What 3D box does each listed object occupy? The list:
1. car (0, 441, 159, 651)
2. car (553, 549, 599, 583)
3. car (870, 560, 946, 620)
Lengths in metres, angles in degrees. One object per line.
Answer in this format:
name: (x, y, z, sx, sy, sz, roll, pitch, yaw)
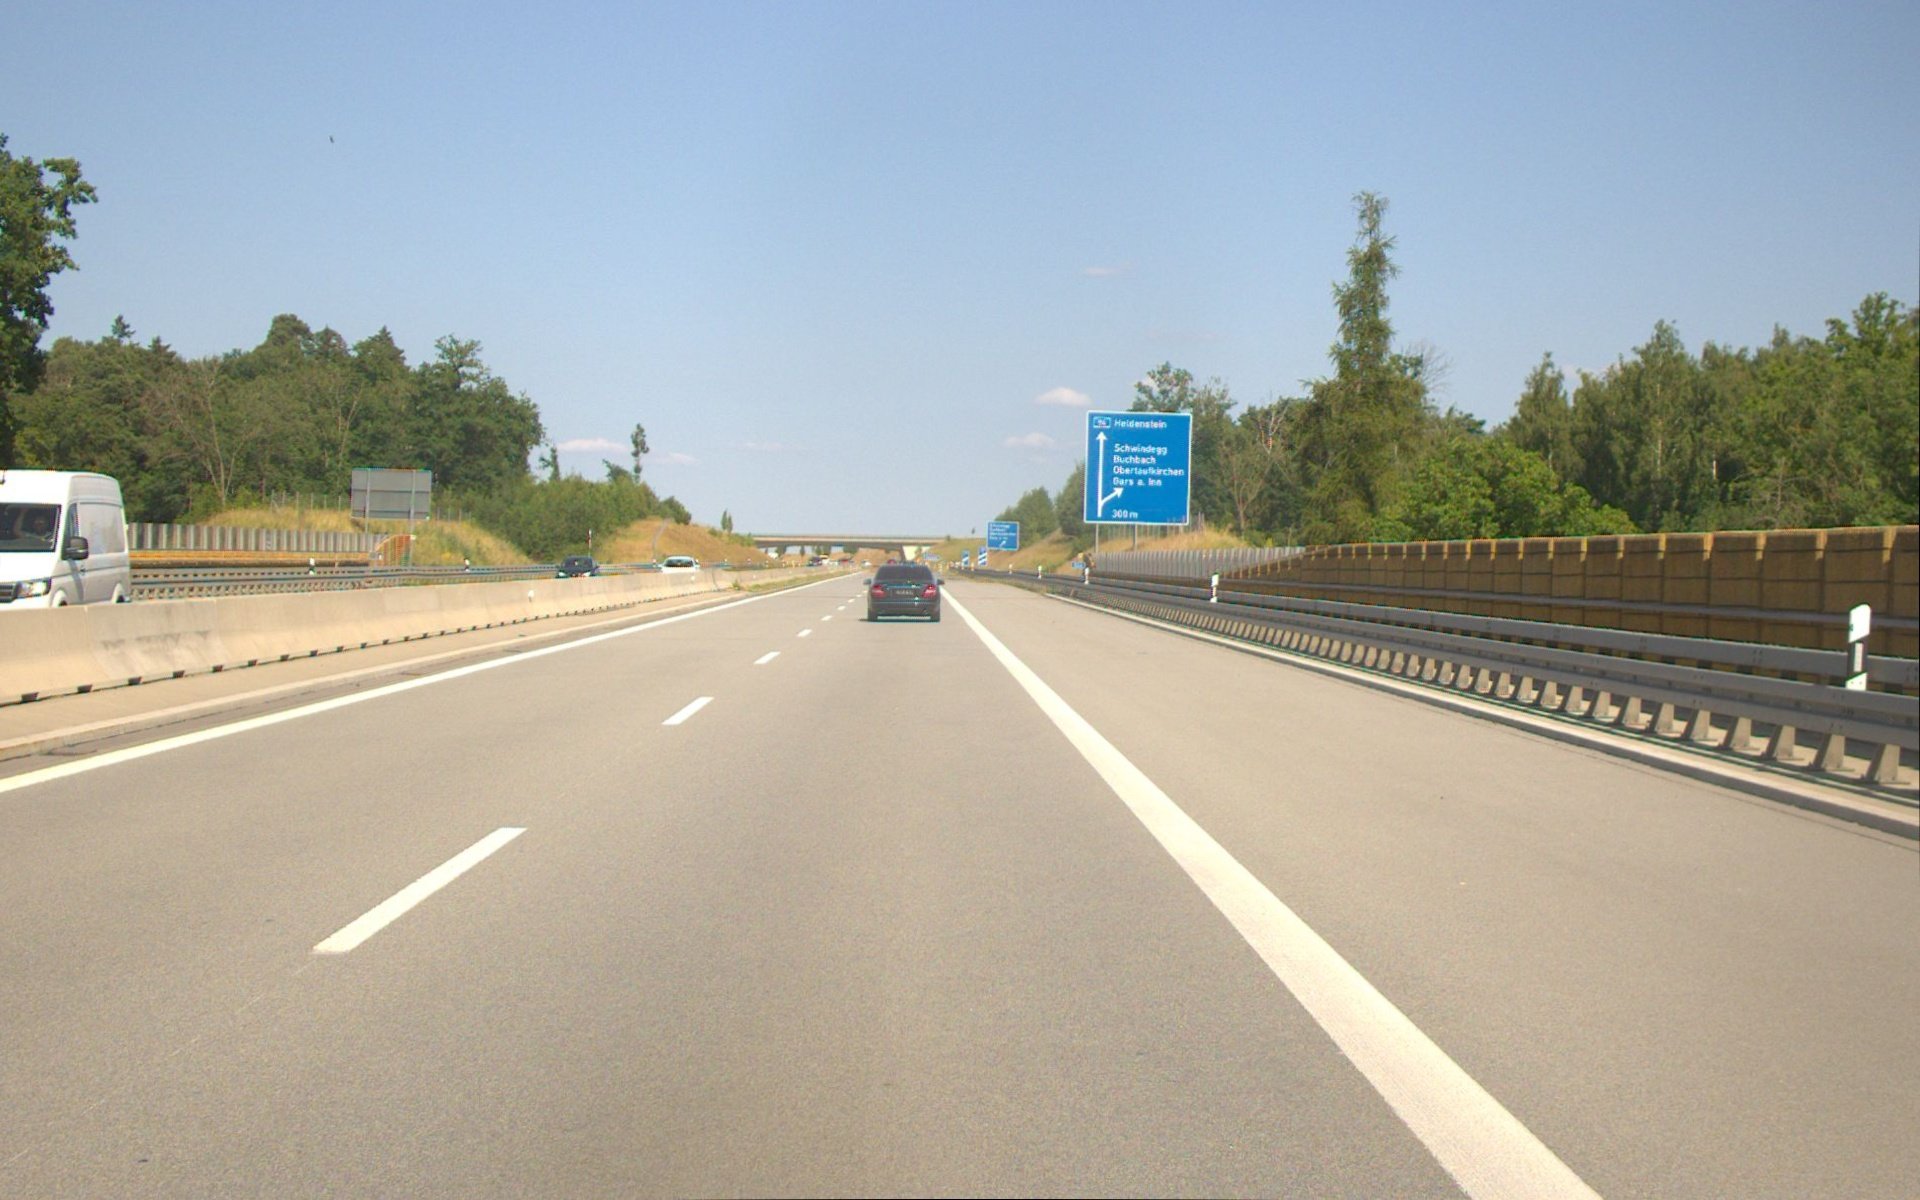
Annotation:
car: (-12.646, -0.745, 47.011, 2.023, 2.661, 6.488, 1, 1, -2)
car: (-16.708, -1.493, 149.588, 1.579, 1.453, 4.450, 1, 1, -1)
car: (-1.252, -0.261, 83.897, 1.790, 1.369, 3.917, 1, 1, 0)
